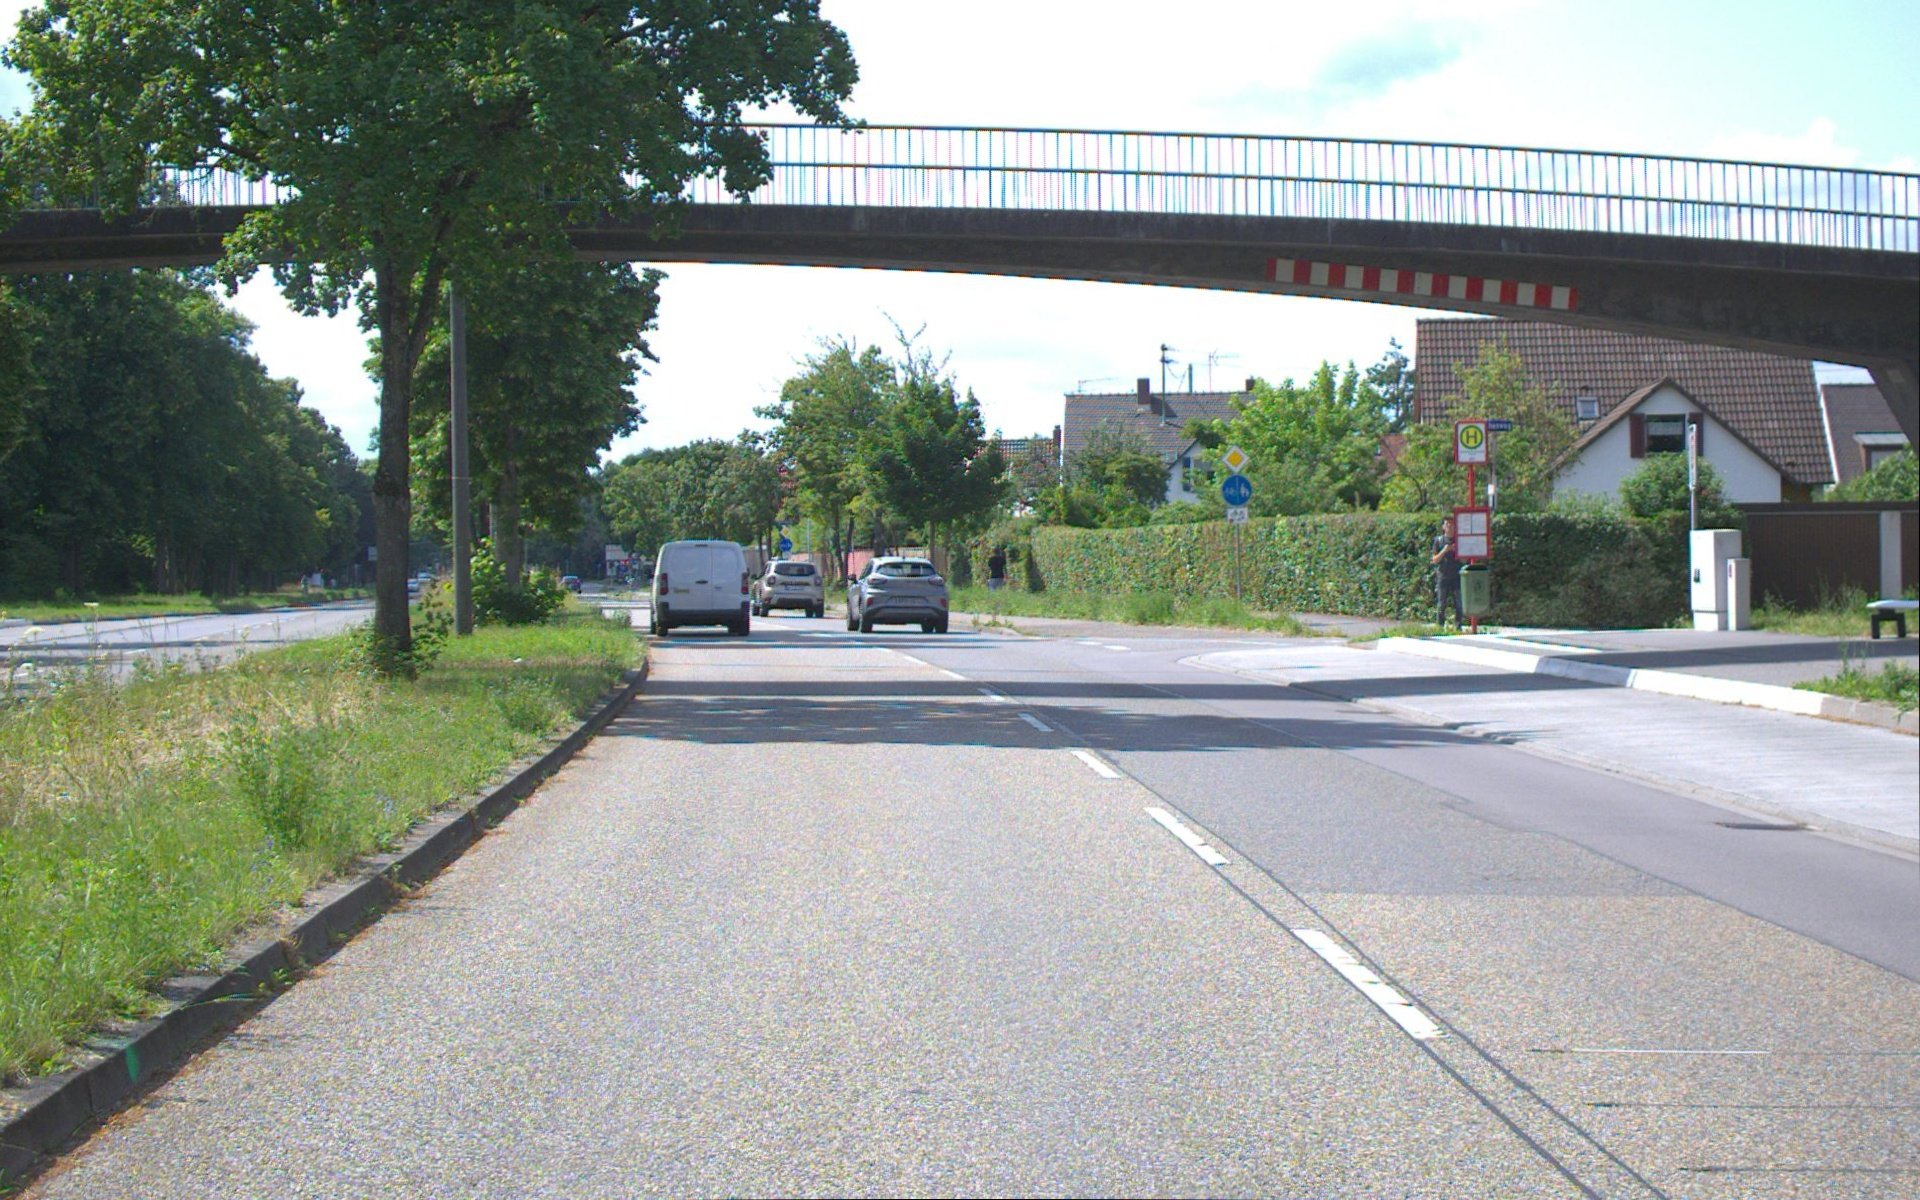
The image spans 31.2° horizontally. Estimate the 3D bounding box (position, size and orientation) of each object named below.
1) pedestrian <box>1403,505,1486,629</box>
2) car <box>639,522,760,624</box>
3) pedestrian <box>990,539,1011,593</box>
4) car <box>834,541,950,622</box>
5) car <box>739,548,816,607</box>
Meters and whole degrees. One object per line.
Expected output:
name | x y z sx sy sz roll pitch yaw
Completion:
pedestrian | 7.353 -0.496 52.246 0.954 1.818 1.088 -2 -1 -5
car | -5.126 -0.541 67.148 2.065 1.905 4.647 0 1 -8
pedestrian | 1.251 -1.042 105.781 0.560 1.671 0.634 0 0 -8
car | -1.418 -0.383 70.023 1.875 1.583 4.185 0 0 -8
car | -5.242 -0.649 98.141 1.875 1.646 4.001 0 0 -8
